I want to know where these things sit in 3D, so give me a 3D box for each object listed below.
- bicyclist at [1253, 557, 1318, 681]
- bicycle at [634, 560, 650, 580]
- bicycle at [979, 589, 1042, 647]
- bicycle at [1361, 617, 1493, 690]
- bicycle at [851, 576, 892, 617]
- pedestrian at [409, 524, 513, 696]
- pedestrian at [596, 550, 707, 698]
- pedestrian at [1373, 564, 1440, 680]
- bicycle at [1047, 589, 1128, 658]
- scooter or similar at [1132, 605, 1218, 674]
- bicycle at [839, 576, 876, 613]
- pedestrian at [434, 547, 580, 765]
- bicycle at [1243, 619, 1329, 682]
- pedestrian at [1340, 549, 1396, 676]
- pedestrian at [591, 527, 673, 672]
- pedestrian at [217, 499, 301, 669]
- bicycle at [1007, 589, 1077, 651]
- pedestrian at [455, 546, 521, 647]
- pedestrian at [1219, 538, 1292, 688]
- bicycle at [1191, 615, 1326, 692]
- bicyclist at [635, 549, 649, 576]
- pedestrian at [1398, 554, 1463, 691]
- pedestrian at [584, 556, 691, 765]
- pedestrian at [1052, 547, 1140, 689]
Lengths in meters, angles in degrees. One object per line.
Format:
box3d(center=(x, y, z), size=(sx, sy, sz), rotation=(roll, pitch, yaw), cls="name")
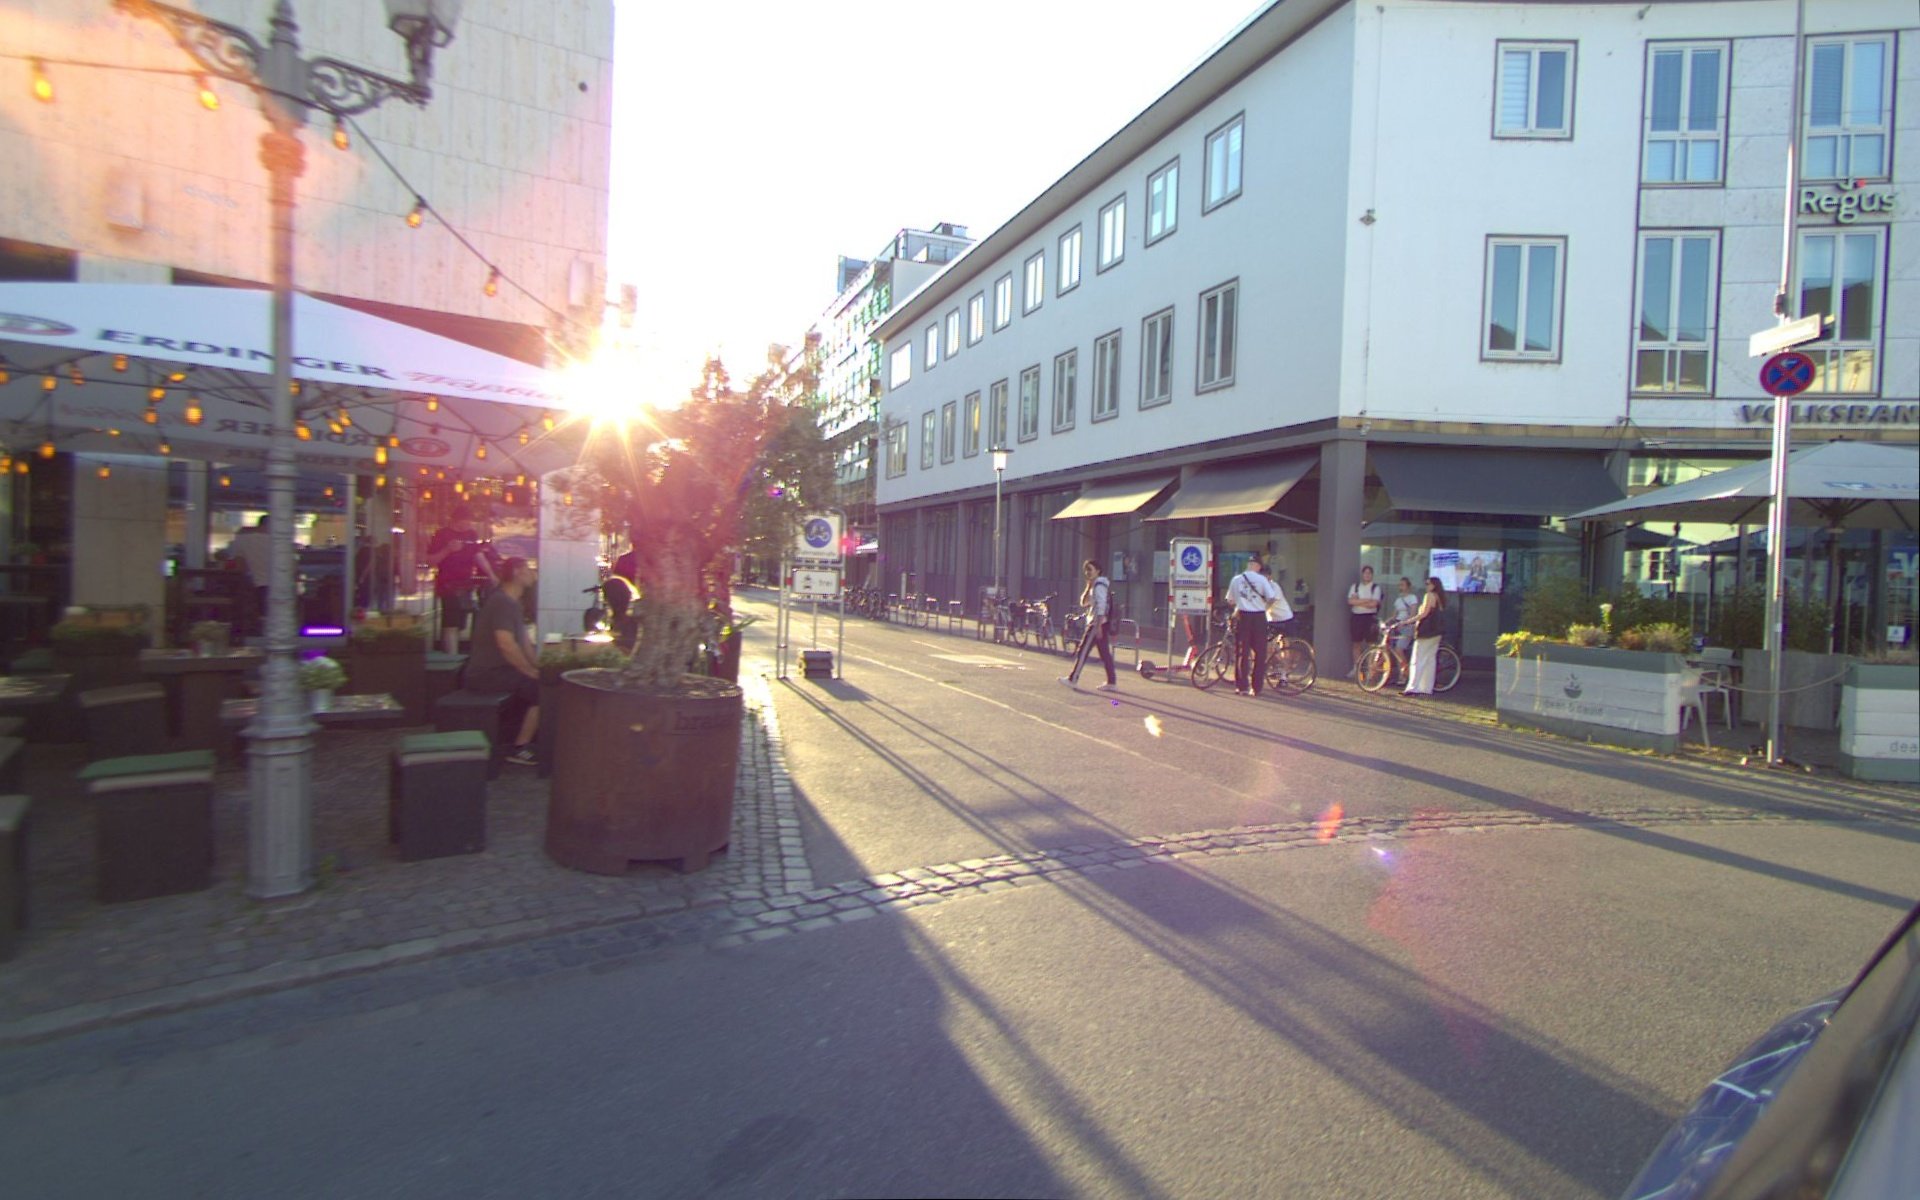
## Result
box3d(center=(4.780, 0.262, 14.849), size=(0.820, 1.764, 0.482), rotation=(1, 1, -40), cls="bicyclist")
box3d(center=(-20.651, -1.958, 65.693), size=(0.782, 1.232, 2.238), rotation=(1, 1, -23), cls="bicycle")
box3d(center=(1.097, 0.381, 22.489), size=(0.511, 1.155, 1.968), rotation=(1, 2, -24), cls="bicycle")
box3d(center=(6.614, 0.754, 14.363), size=(1.643, 0.945, 0.475), rotation=(2, 1, -5), cls="bicycle")
box3d(center=(-2.893, -0.138, 32.911), size=(0.782, 1.232, 2.239), rotation=(2, 2, -19), cls="bicycle")
box3d(center=(-5.384, 0.086, 10.934), size=(0.704, 1.769, 0.709), rotation=(3, 1, 30), cls="pedestrian")
box3d(center=(-3.247, 0.228, 10.603), size=(0.926, 1.465, 0.973), rotation=(1, 1, -27), cls="pedestrian")
box3d(center=(6.762, 0.322, 15.334), size=(0.721, 1.697, 0.619), rotation=(1, 1, -41), cls="pedestrian")
box3d(center=(2.371, 0.414, 19.079), size=(0.511, 1.155, 1.968), rotation=(1, 2, -24), cls="bicycle")
box3d(center=(3.341, 0.614, 15.771), size=(1.179, 1.024, 0.488), rotation=(2, 1, -11), cls="scooter or similar")
box3d(center=(-3.695, -0.224, 36.322), size=(0.782, 1.232, 2.239), rotation=(2, 2, -19), cls="bicycle")
box3d(center=(-3.214, 0.375, 7.253), size=(0.847, 1.465, 0.725), rotation=(2, 1, -18), cls="pedestrian")
box3d(center=(4.791, 0.722, 14.842), size=(1.457, 0.858, 0.482), rotation=(1, 2, -40), cls="bicycle")
box3d(center=(6.453, 0.183, 16.016), size=(0.533, 1.947, 0.580), rotation=(1, 1, -41), cls="pedestrian")
box3d(center=(-4.157, -0.017, 12.869), size=(0.705, 1.769, 0.708), rotation=(2, 1, 8), cls="pedestrian")
box3d(center=(-7.618, -0.174, 11.000), size=(0.703, 1.769, 0.710), rotation=(1, 1, -36), cls="pedestrian")
box3d(center=(1.652, 0.383, 20.821), size=(0.511, 1.155, 1.968), rotation=(1, 2, -24), cls="bicycle")
box3d(center=(-6.645, -0.053, 14.236), size=(0.768, 1.365, 0.711), rotation=(1, 1, -28), cls="pedestrian")
box3d(center=(3.952, 0.159, 13.556), size=(0.614, 1.952, 0.647), rotation=(2, 1, -18), cls="pedestrian")
box3d(center=(3.986, 0.717, 13.565), size=(1.643, 0.945, 0.475), rotation=(2, 1, -5), cls="bicycle")
box3d(center=(-20.651, -2.406, 65.696), size=(0.782, 1.711, 0.902), rotation=(2, 1, -23), cls="bicyclist")
box3d(center=(6.553, 0.300, 14.095), size=(0.706, 1.840, 0.508), rotation=(1, 1, -41), cls="pedestrian")
box3d(center=(-2.394, 0.420, 7.513), size=(0.679, 1.465, 0.725), rotation=(2, 1, -18), cls="pedestrian")
box3d(center=(1.796, 0.209, 13.298), size=(0.923, 1.762, 0.915), rotation=(2, 1, 21), cls="pedestrian")
